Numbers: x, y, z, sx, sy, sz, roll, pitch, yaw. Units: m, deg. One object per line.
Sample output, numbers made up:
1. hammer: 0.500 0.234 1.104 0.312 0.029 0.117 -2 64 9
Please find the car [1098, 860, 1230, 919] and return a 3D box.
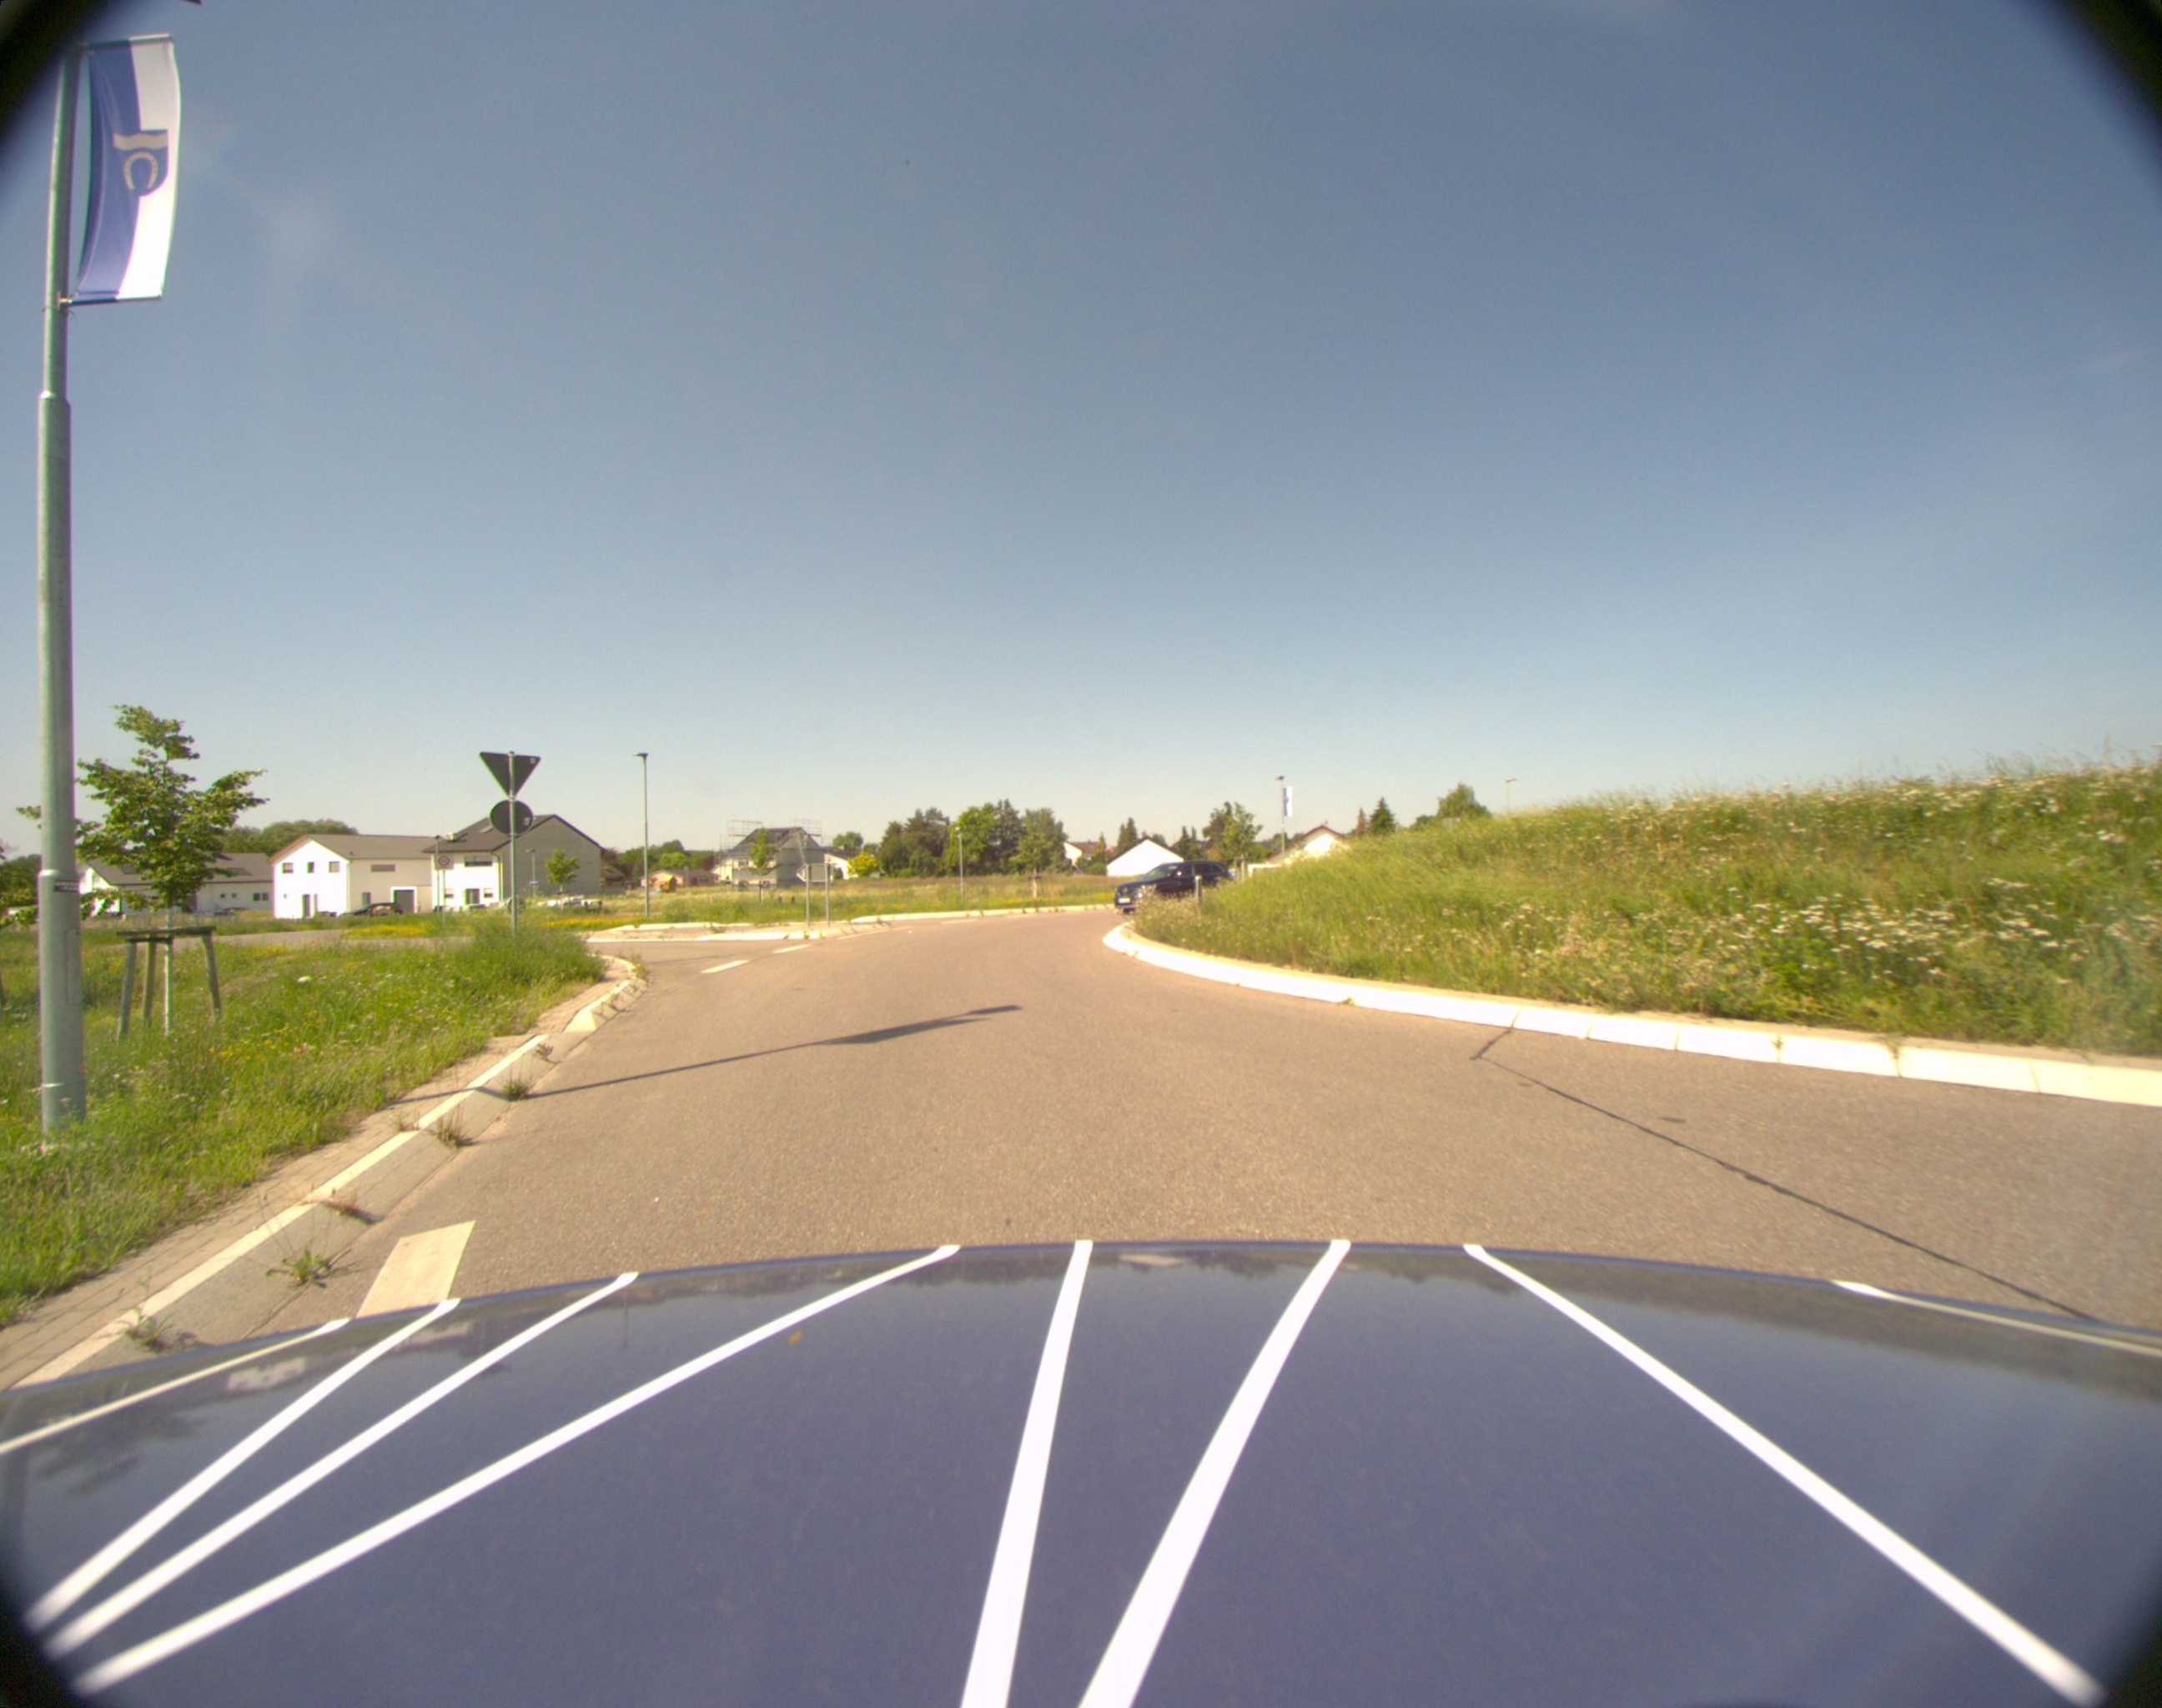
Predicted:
1. car: 2.738 1.102 24.643 4.147 1.632 1.777 -2 -1 -39
